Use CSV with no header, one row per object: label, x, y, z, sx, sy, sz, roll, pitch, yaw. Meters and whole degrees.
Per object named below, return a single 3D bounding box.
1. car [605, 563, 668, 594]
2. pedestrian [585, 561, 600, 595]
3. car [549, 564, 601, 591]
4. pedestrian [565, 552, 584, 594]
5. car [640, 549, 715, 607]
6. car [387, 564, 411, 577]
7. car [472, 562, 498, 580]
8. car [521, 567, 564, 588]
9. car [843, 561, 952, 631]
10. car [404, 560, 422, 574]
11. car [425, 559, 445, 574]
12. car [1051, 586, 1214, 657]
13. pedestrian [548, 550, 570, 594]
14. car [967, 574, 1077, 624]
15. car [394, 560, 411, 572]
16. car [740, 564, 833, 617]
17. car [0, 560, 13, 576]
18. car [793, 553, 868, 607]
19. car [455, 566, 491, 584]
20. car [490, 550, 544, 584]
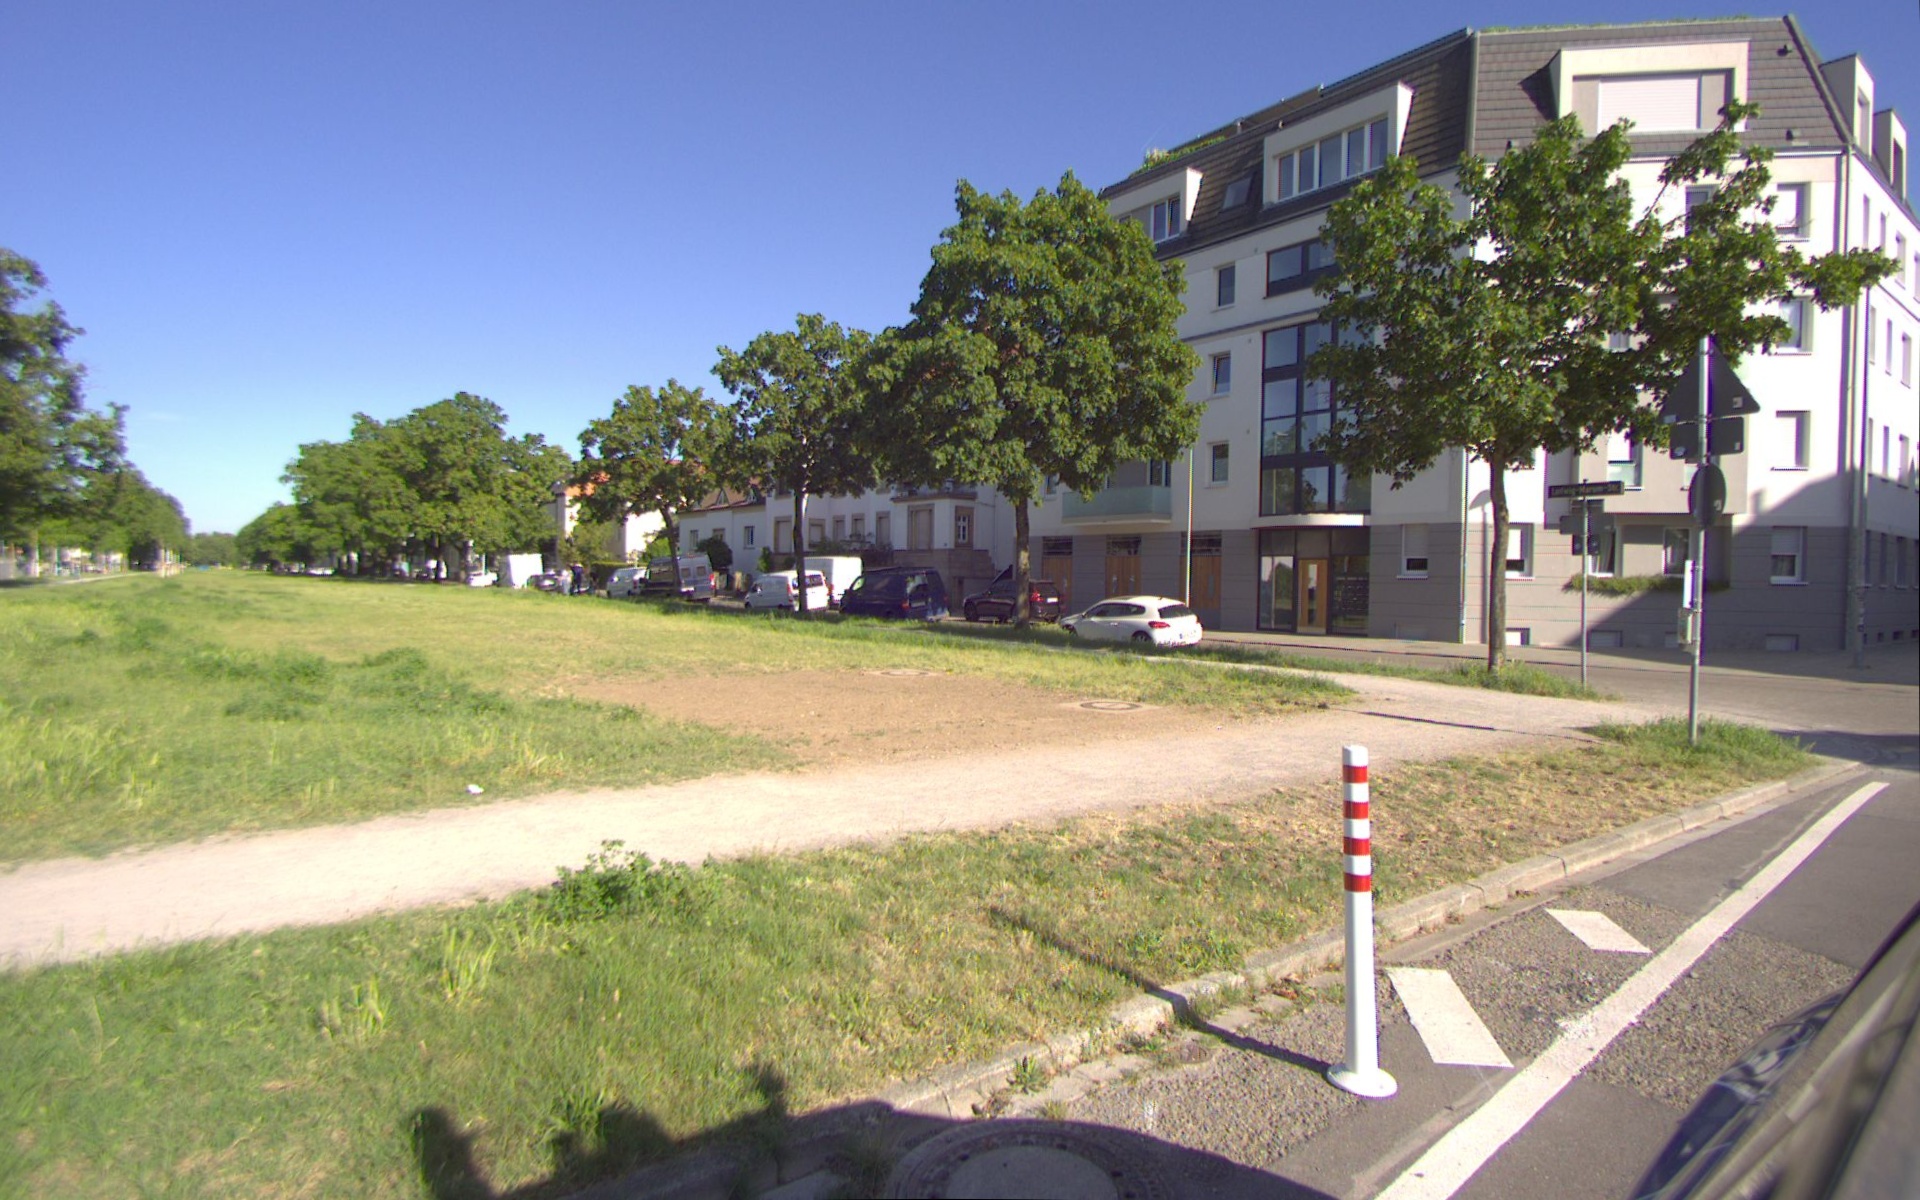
car,-17.848,-1.210,55.743,2.046,1.618,4.288,0,2,-36
pedestrian,-16.708,-0.986,46.059,0.487,1.524,0.535,1,1,-37
car,-24.608,-1.456,64.621,2.046,1.618,4.288,0,2,-36
pedestrian,-17.497,-1.234,45.954,0.632,1.900,0.629,0,1,-38
car,-14.025,-1.133,50.104,2.153,2.615,4.288,-5,4,-36
car,-69.285,-3.667,124.964,2.042,1.484,4.728,0,2,-36
car,-50.761,-3.074,108.105,1.831,1.868,3.994,1,1,-36
car,-29.235,-1.561,70.792,1.898,1.361,4.110,0,2,-36
car,-2.169,-0.205,34.085,1.752,2.108,3.994,-5,5,-36
car,-79.049,-4.794,146.251,1.831,1.868,3.994,0,2,-36
car,-70.695,-4.502,136.281,1.831,1.868,3.994,0,2,-36
car,4.314,0.474,25.750,1.709,1.450,3.993,-5,5,-37
pedestrian,-17.678,-1.246,44.627,0.711,1.900,0.629,1,1,-38
car,2.270,-0.100,38.099,1.861,1.703,4.289,-1,3,-36
car,-87.474,-5.342,158.710,1.831,1.868,3.994,0,2,-36
car,-7.063,-0.428,40.814,1.843,1.906,4.423,-5,5,-36
car,-82.005,-2.741,86.113,1.690,1.358,3.808,0,2,-37
car,-6.417,-1.027,49.769,1.985,2.580,3.994,-1,2,-36
car,-42.545,-2.200,88.290,2.042,1.484,4.728,0,2,-36
car,-33.250,-2.468,75.803,2.503,2.363,5.920,0,2,-36
